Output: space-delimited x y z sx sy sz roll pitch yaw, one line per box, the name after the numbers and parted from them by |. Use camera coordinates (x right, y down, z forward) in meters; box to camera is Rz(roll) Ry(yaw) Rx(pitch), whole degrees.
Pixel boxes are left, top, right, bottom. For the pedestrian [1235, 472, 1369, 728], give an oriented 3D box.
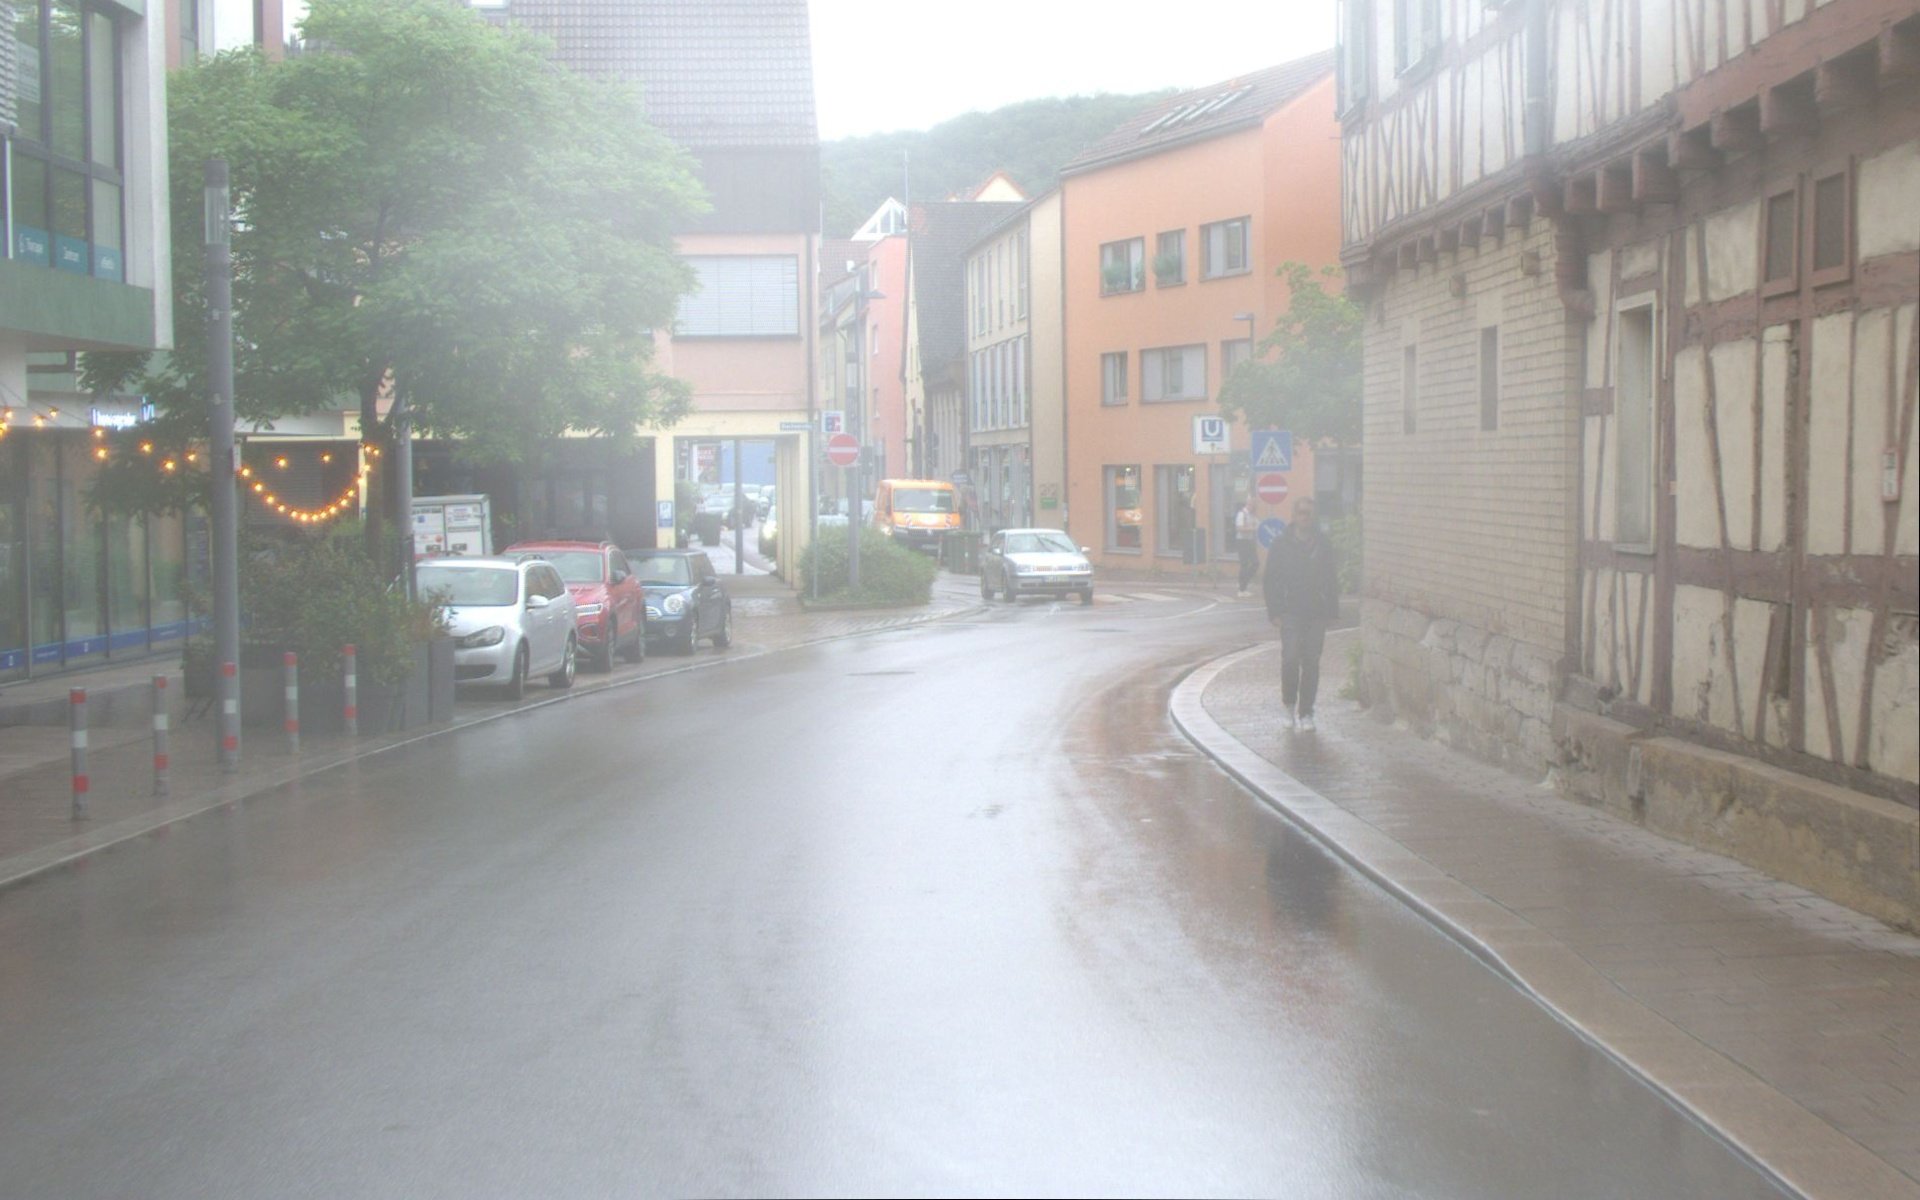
2.600 -0.010 26.195 0.810 1.878 0.908 -3 1 -2 | pedestrian

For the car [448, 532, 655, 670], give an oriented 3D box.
-5.012 -0.027 42.658 1.787 1.571 4.107 -1 1 4 | car

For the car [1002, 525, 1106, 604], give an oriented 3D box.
1.808 -0.720 67.426 1.790 1.412 4.029 -3 1 -1 | car

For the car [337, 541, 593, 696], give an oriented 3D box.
-5.219 0.152 36.818 1.787 1.493 4.454 -1 1 4 | car

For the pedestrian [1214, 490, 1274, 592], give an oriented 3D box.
5.396 -1.124 65.330 0.862 1.908 0.757 0 2 31 | pedestrian

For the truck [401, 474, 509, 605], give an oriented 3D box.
-9.233 -1.144 63.020 1.596 2.055 3.194 -3 6 -3 | truck

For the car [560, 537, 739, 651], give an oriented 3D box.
-4.250 -0.113 47.604 1.715 1.453 3.909 0 2 6 | car

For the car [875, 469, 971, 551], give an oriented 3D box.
-1.063 -2.523 96.339 2.103 2.139 4.868 -3 2 -7 | car

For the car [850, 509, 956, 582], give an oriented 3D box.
-1.198 -1.141 70.695 1.714 1.453 3.911 0 2 -8 | car

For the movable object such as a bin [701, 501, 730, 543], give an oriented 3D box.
-8.119 -2.597 114.240 0.834 1.377 0.854 -1 2 -10 | movable object such as a bin

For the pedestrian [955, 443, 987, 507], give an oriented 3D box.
0.351 -3.954 108.476 0.866 2.006 0.708 -1 2 -9 | pedestrian
